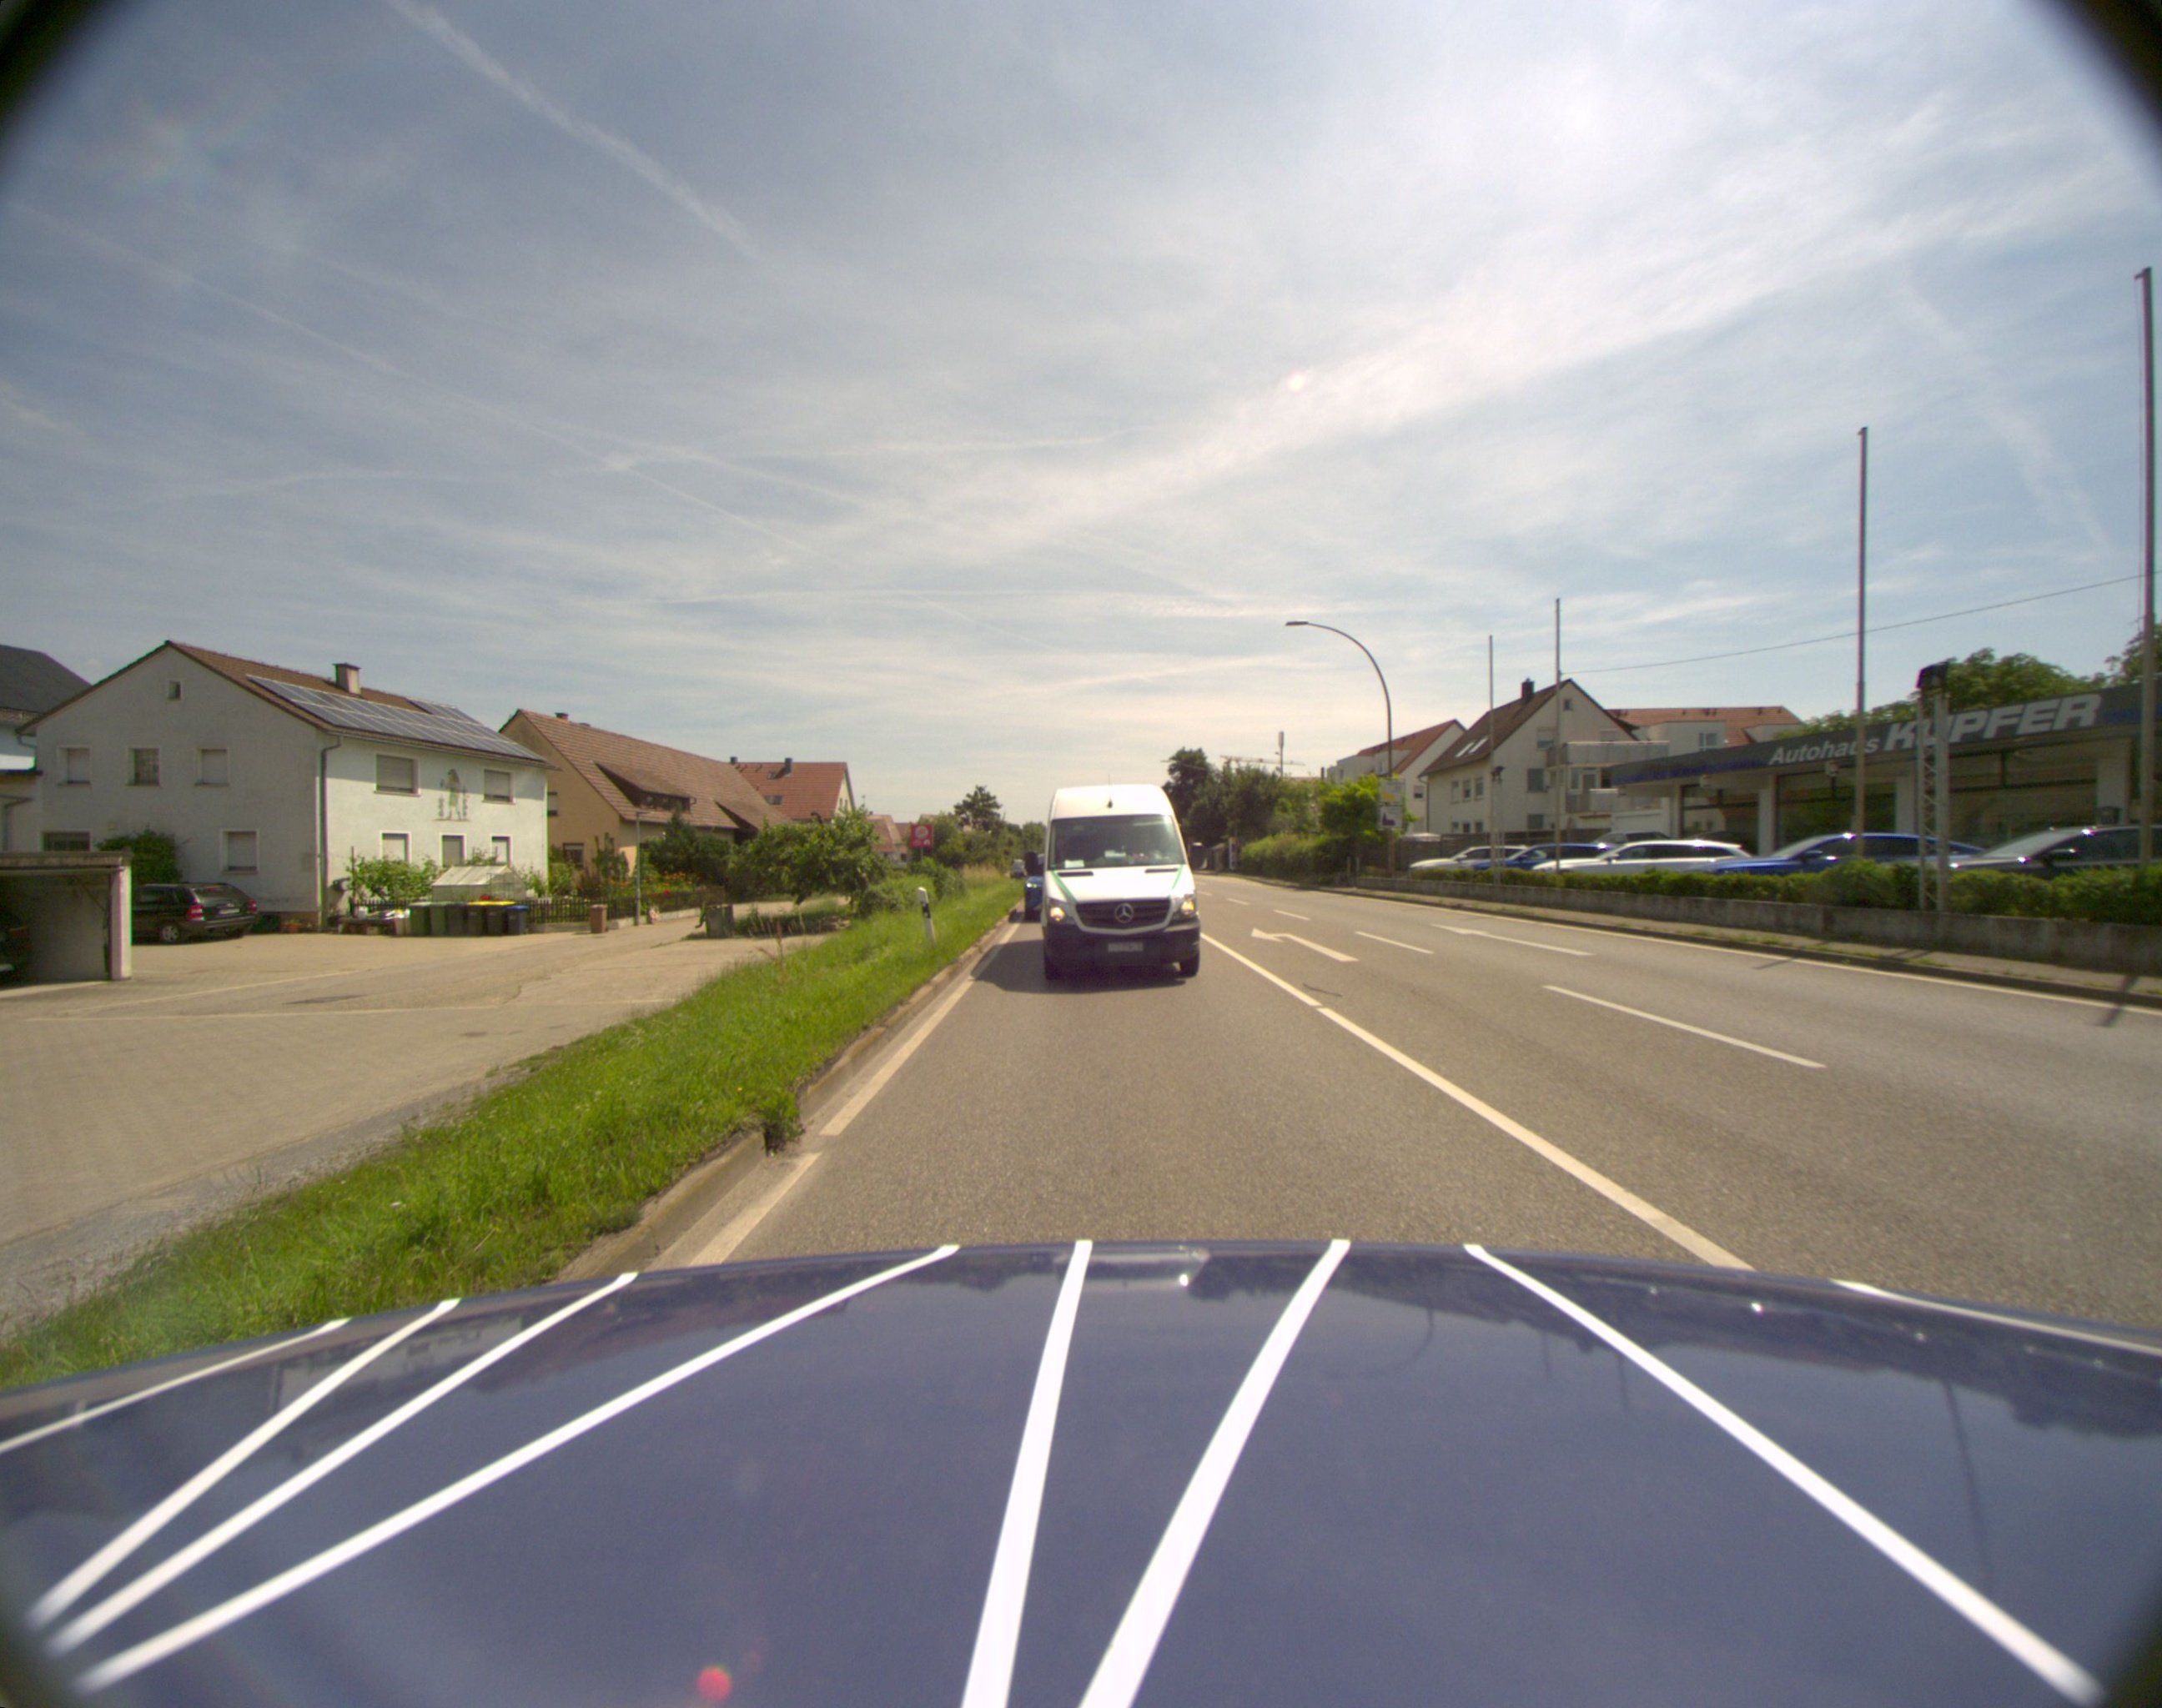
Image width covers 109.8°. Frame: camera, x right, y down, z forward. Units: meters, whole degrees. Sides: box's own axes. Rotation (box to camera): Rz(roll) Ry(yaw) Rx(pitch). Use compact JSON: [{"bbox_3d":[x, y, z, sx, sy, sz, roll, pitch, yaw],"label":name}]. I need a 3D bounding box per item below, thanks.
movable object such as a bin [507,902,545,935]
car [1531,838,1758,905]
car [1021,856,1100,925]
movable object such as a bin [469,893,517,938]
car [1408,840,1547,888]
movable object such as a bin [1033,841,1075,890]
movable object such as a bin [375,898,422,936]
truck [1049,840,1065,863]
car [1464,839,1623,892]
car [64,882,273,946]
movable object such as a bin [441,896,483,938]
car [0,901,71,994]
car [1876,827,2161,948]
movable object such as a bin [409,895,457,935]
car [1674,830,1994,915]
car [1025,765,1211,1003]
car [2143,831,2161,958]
[{"bbox_3d":[-18.290,2.121,25.035,0.645,1.021,0.756,-2,0,0],"label":"movable object such as a bin"},{"bbox_3d":[13.897,0.445,19.111,4.303,1.510,2.003,-2,0,28],"label":"car"},{"bbox_3d":[-0.472,0.873,19.817,1.824,1.574,3.901,-1,0,0],"label":"car"},{"bbox_3d":[-19.301,1.999,24.965,0.765,1.362,0.946,-2,0,0],"label":"movable object such as a bin"},{"bbox_3d":[14.180,0.354,27.369,4.255,1.521,2.003,-2,0,27],"label":"car"},{"bbox_3d":[-1.550,0.654,45.778,1.998,2.710,5.420,-2,0,2],"label":"movable object such as a bin"},{"bbox_3d":[-22.481,2.057,25.054,0.740,1.149,0.830,-2,0,0],"label":"movable object such as a bin"},{"bbox_3d":[-4.126,-0.367,131.469,2.506,3.848,5.496,-2,0,-2],"label":"truck"},{"bbox_3d":[14.084,0.357,23.415,3.990,1.455,2.003,-2,0,27],"label":"car"},{"bbox_3d":[-27.073,1.761,22.648,3.997,1.724,1.828,0,1,1],"label":"car"},{"bbox_3d":[-20.632,2.093,25.338,0.678,1.330,0.820,-2,0,0],"label":"movable object such as a bin"},{"bbox_3d":[-21.268,1.755,13.594,3.996,1.594,1.826,-2,0,2],"label":"car"},{"bbox_3d":[14.498,0.426,10.632,4.250,1.536,1.853,-2,0,24],"label":"car"},{"bbox_3d":[-21.554,2.015,25.289,0.745,1.239,0.889,-2,0,0],"label":"movable object such as a bin"},{"bbox_3d":[14.208,0.368,14.703,3.990,1.433,1.857,-2,0,26],"label":"car"},{"bbox_3d":[0.446,0.338,11.312,1.977,2.584,5.634,-2,0,1],"label":"car"},{"bbox_3d":[13.980,0.409,7.112,4.329,1.451,1.858,-2,0,25],"label":"car"}]
